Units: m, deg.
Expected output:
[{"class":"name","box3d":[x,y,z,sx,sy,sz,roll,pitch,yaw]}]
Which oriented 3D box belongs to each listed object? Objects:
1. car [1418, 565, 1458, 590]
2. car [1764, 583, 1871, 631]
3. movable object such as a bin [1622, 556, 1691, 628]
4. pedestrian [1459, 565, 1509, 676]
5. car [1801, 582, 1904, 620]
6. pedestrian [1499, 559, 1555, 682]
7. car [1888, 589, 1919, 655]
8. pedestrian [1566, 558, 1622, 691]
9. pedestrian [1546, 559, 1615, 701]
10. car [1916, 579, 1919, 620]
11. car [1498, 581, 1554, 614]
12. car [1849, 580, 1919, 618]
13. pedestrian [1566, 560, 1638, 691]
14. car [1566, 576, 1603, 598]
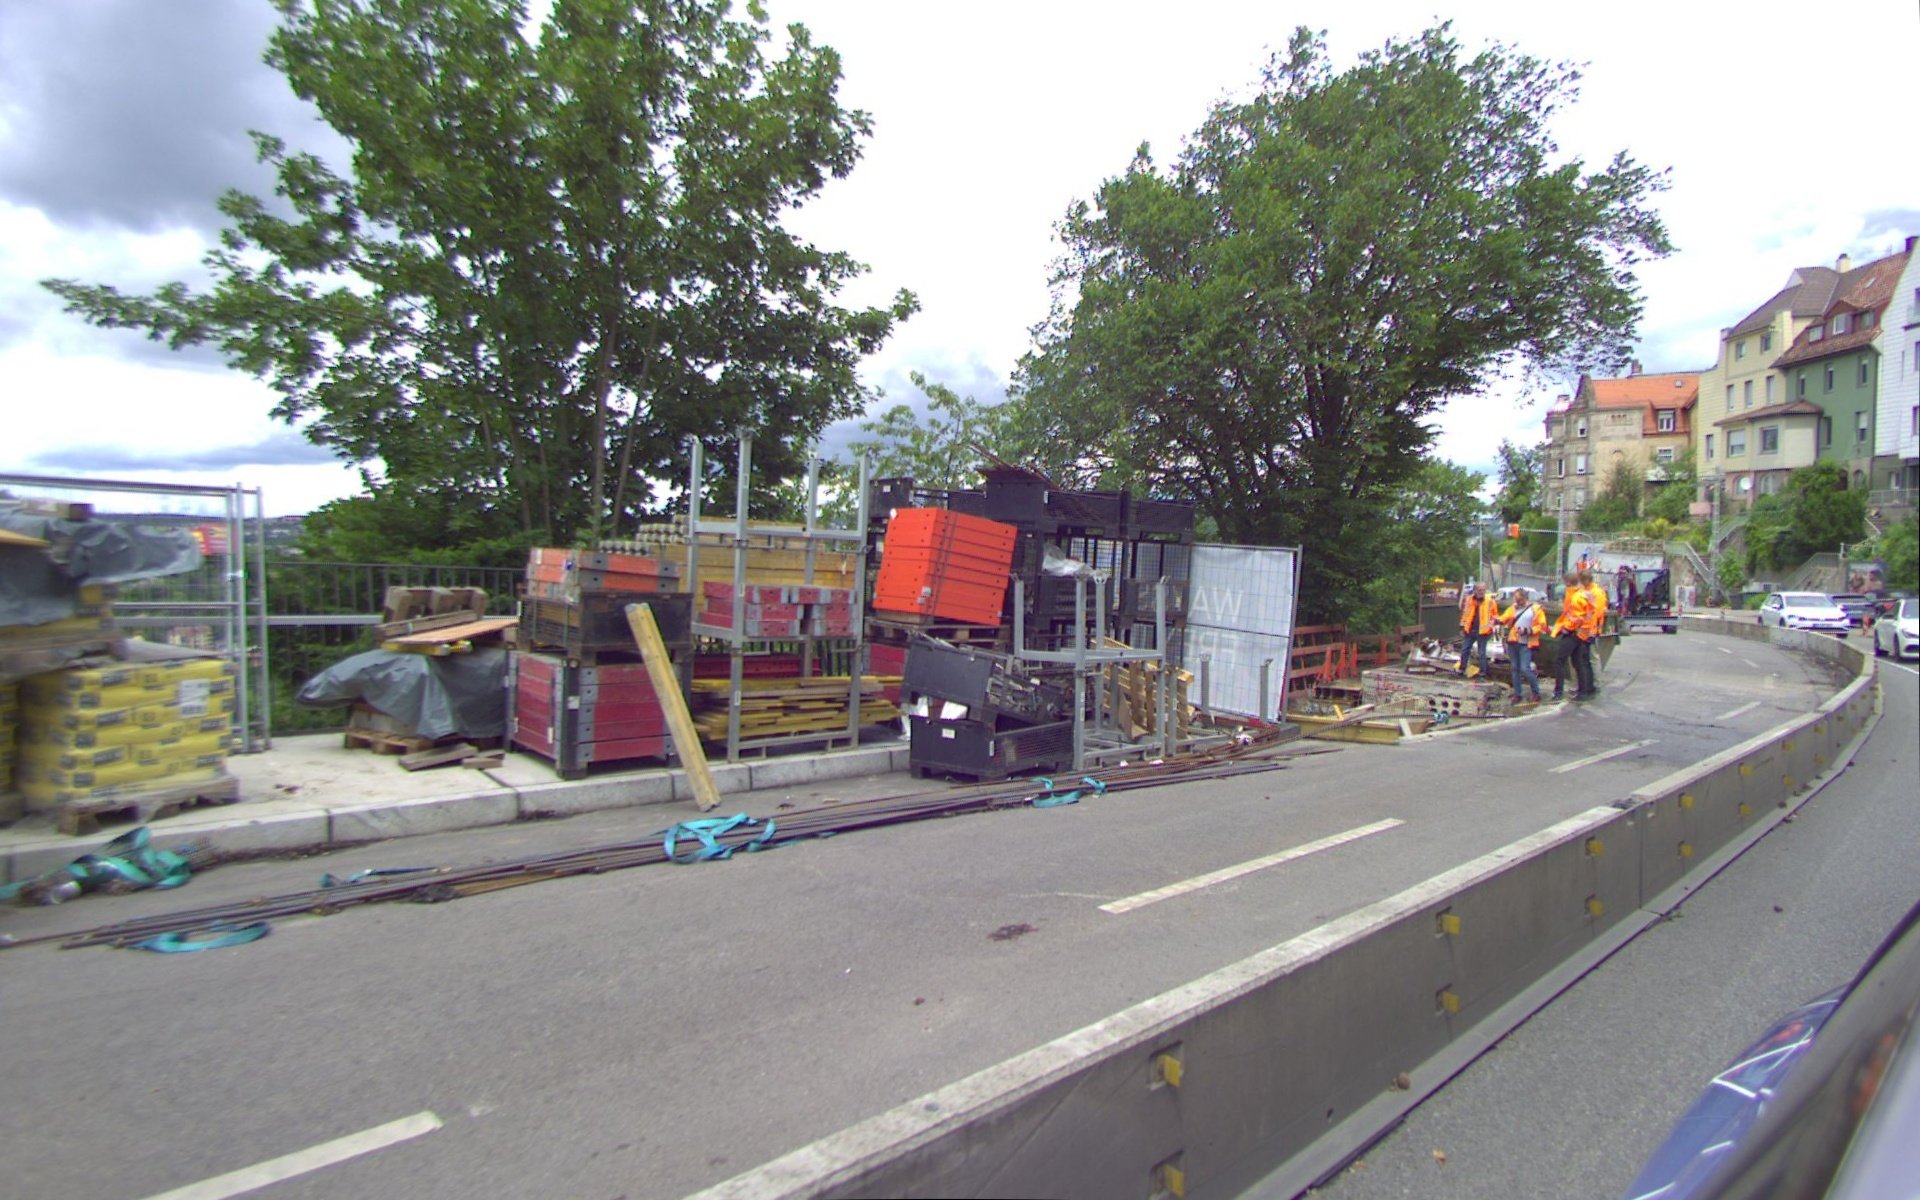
[{"class":"car","box3d":[41.353,-1.940,87.571,1.967,2.128,4.061,0,0,8]},{"class":"car","box3d":[29.983,0.201,35.519,1.868,1.598,3.965,0,1,25]},{"class":"movable object such as a bin","box3d":[26.804,-0.326,39.054,1.848,2.628,3.405,0,0,29]},{"class":"pedestrian","box3d":[8.791,0.331,16.993,0.640,1.816,0.639,-2,0,24]},{"class":"car","box3d":[37.226,0.018,42.330,1.778,1.489,4.173,0,0,20]},{"class":"pedestrian","box3d":[9.108,0.328,16.254,0.725,1.916,0.612,-2,-3,31]},{"class":"car","box3d":[22.259,0.481,22.668,1.790,1.322,4.045,2,3,38]},{"class":"pedestrian","box3d":[9.247,0.336,14.758,0.524,1.865,0.786,4,3,38]},{"class":"pedestrian","box3d":[8.633,0.390,14.070,0.637,1.882,0.823,4,3,38]},{"class":"car","box3d":[37.823,-0.045,37.858,1.751,1.616,3.760,-4,-1,25]},{"class":"car","box3d":[30.199,-0.161,54.106,1.769,1.706,3.980,0,0,16]},{"class":"car","box3d":[40.018,-0.069,43.271,1.663,1.435,3.765,-4,-1,21]},{"class":"pedestrian","box3d":[9.793,0.378,15.462,0.609,1.909,0.717,3,0,9]},{"class":"car","box3d":[45.995,-0.953,74.615,1.671,1.527,3.638,0,1,21]}]
